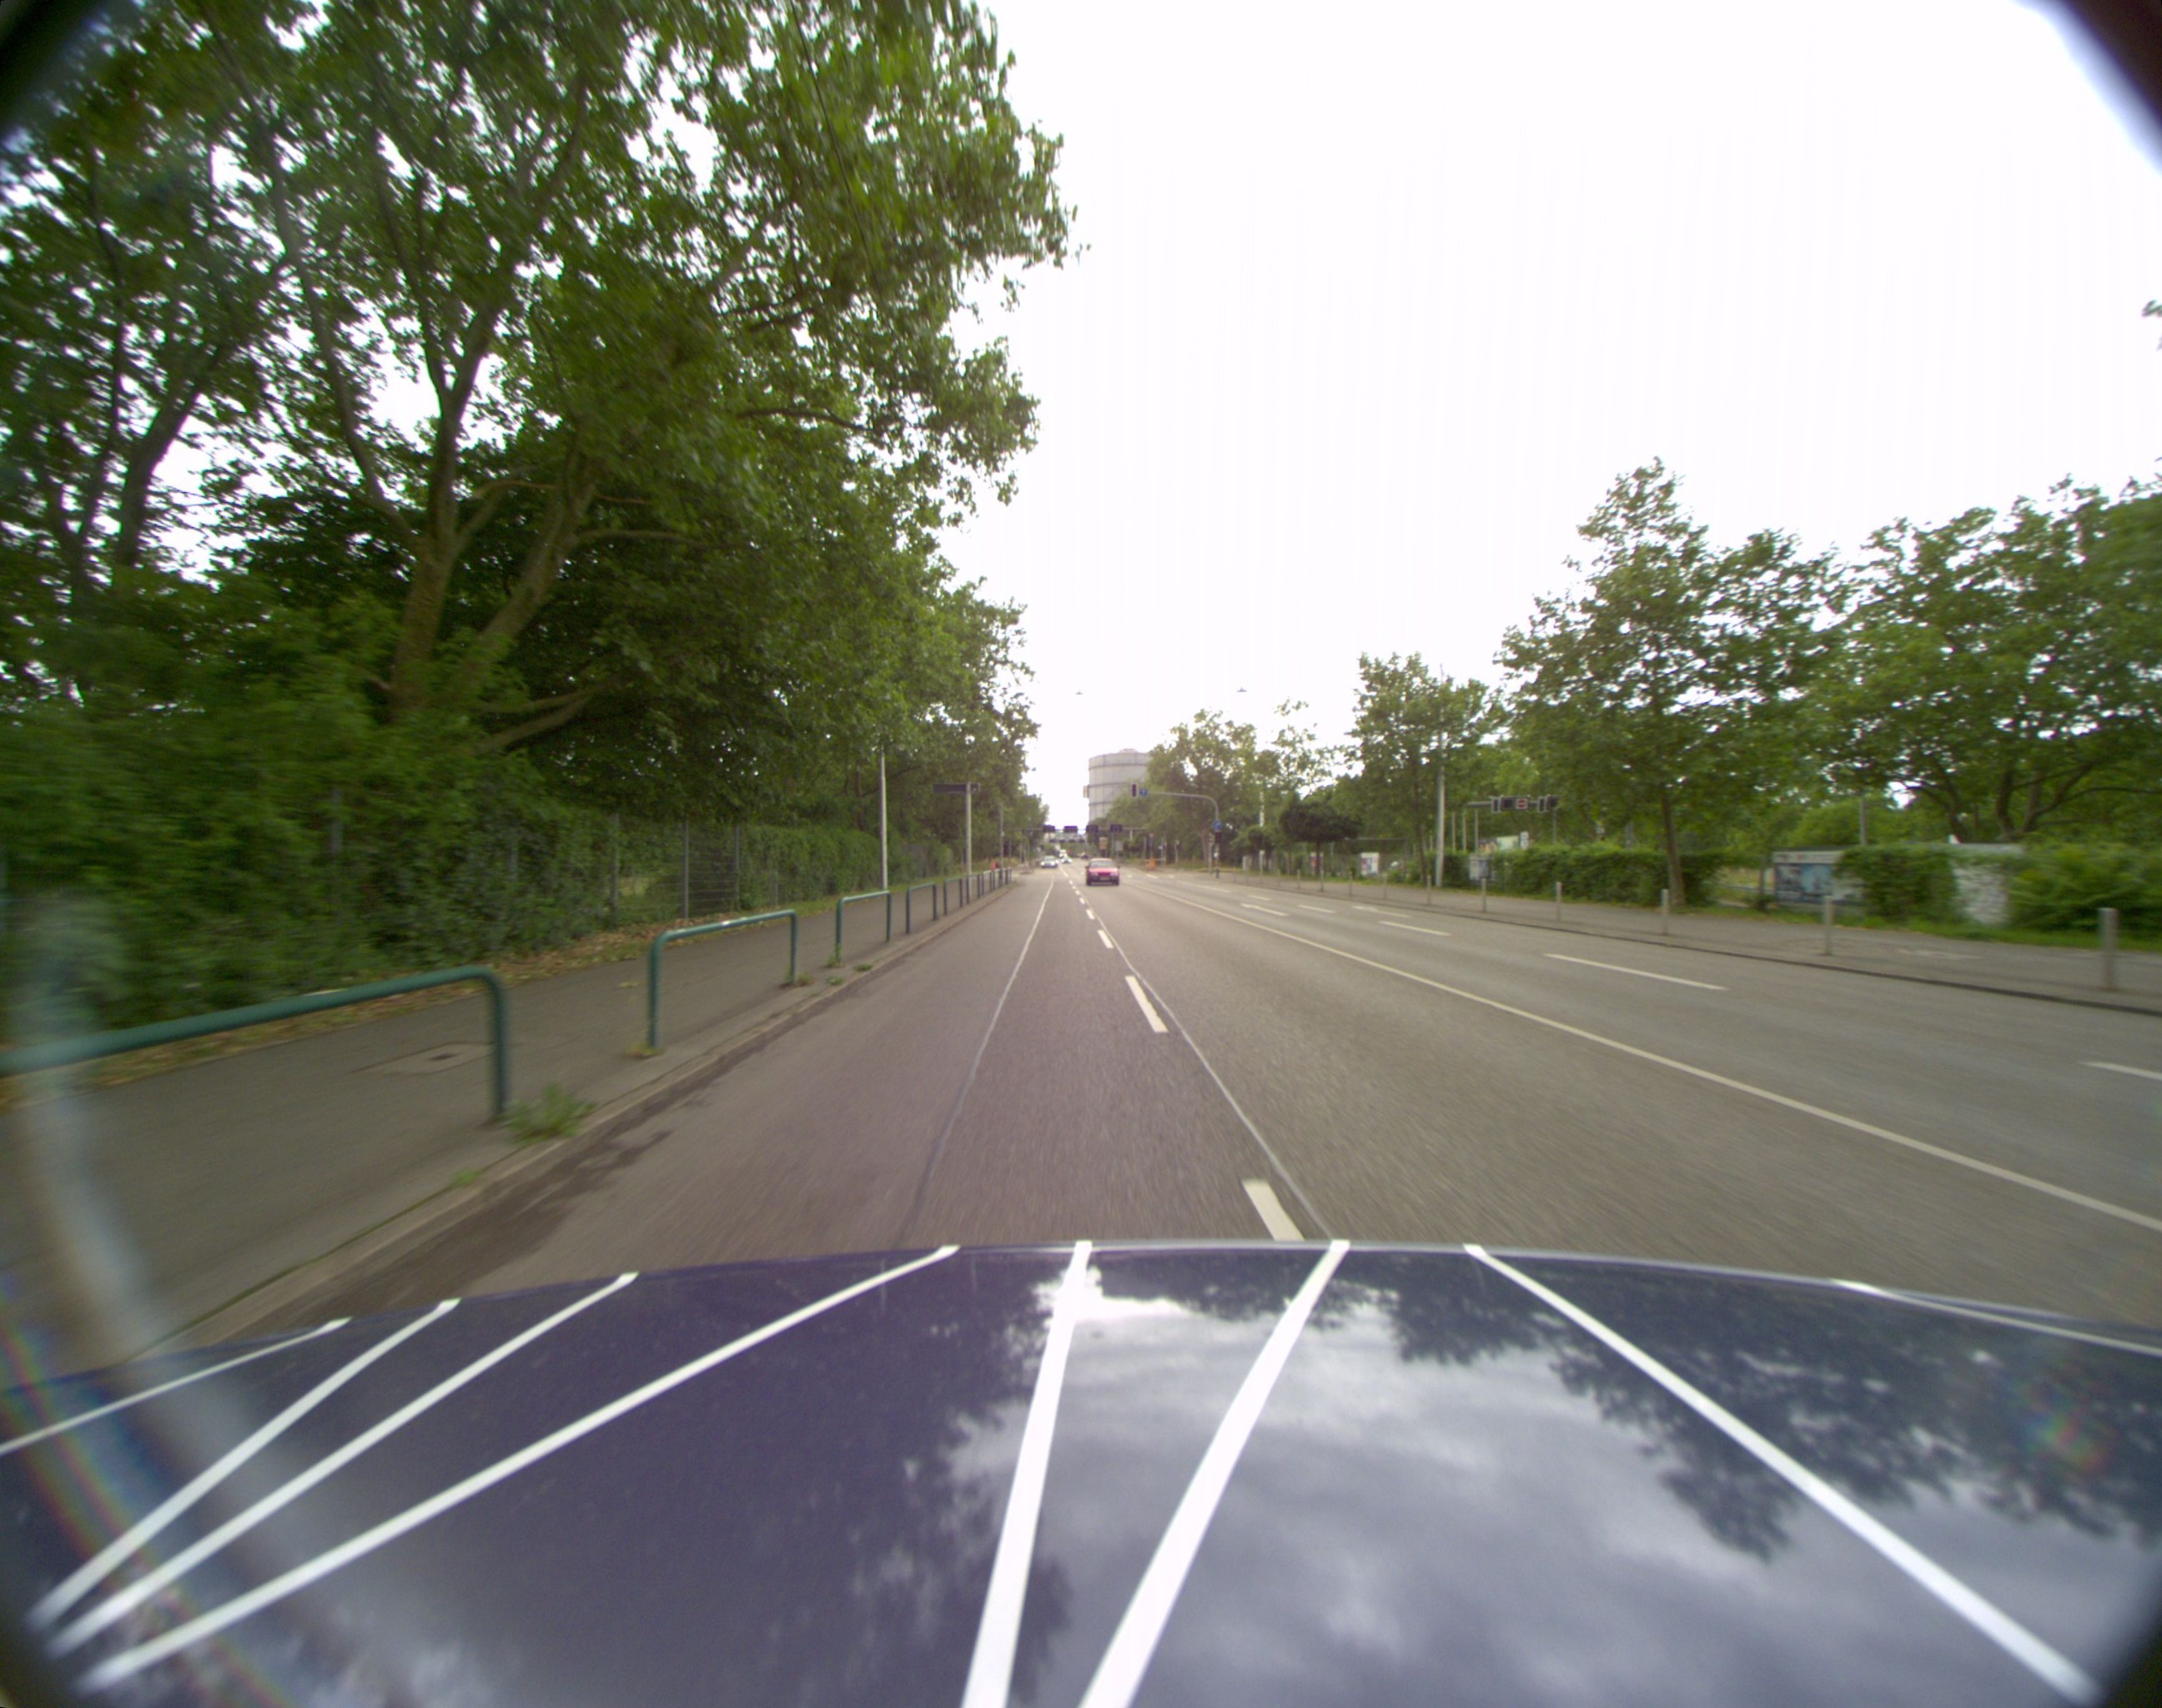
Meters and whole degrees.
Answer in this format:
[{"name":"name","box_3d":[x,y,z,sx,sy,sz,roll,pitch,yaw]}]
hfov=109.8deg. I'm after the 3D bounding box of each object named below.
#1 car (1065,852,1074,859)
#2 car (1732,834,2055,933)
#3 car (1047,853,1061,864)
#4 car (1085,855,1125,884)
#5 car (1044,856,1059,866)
[{"name":"car","box_3d":[-2.430,0.373,161.984,1.799,1.501,3.999,0,0,-2]},{"name":"car","box_3d":[18.496,0.581,17.741,2.393,2.002,4.633,0,0,-6]},{"name":"car","box_3d":[-4.204,0.683,119.711,1.798,1.501,4.000,-2,1,2]},{"name":"car","box_3d":[1.267,0.779,41.349,1.834,1.443,4.075,-1,0,-3]},{"name":"car","box_3d":[-3.900,0.938,101.204,1.741,1.363,3.872,0,0,1]}]
